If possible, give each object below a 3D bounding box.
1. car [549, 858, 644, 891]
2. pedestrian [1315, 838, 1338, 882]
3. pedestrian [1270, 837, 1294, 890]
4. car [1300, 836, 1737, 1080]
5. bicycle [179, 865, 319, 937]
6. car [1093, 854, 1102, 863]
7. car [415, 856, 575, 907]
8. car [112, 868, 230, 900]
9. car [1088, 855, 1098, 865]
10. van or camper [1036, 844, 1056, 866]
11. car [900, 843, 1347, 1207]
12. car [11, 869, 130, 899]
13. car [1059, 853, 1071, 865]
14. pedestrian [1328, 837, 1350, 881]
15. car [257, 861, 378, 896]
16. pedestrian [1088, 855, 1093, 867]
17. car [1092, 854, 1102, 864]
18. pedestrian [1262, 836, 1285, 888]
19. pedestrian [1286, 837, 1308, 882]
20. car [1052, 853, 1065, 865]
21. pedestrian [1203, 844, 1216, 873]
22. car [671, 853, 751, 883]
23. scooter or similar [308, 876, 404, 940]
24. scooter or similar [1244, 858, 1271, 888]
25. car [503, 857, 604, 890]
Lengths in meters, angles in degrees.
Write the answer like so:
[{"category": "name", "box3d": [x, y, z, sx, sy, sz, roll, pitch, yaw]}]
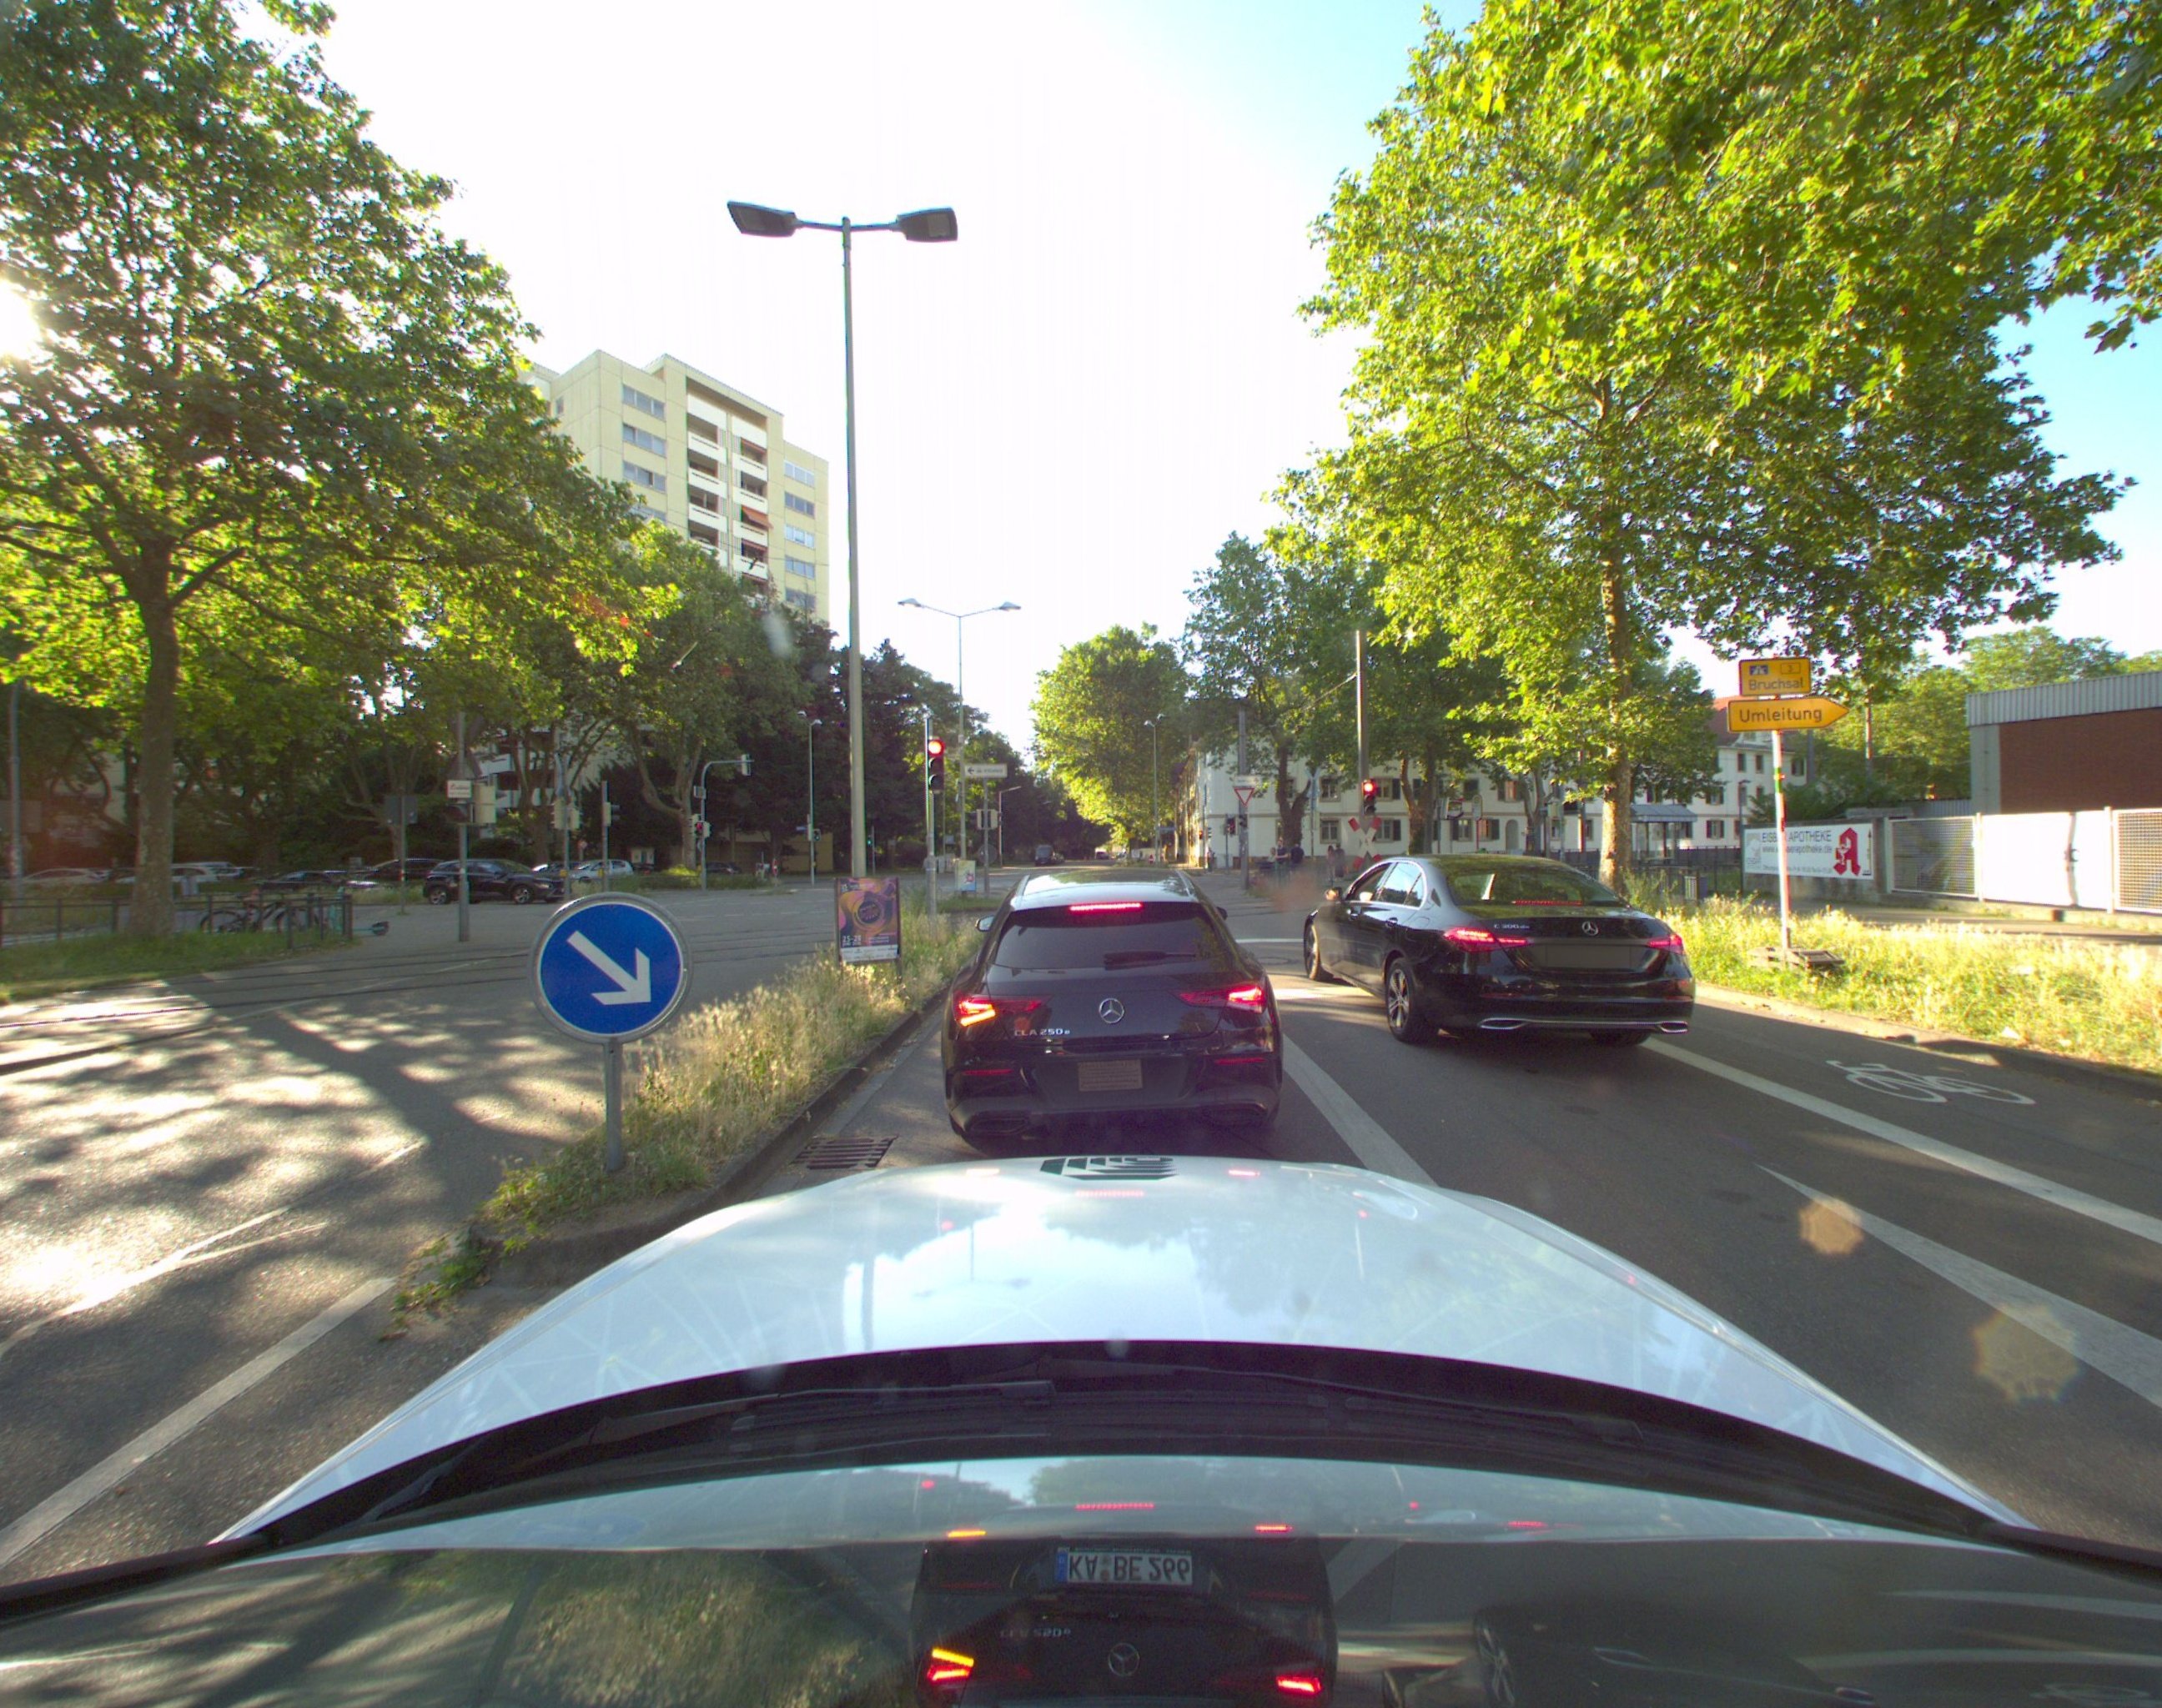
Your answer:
[{"category": "car", "box3d": [-24.923, 1.029, 42.026, 1.716, 1.596, 3.831, -1, -1, 32]}, {"category": "pedestrian", "box3d": [10.723, 0.259, 35.556, 0.703, 1.918, 0.838, 0, -1, -2]}, {"category": "pedestrian", "box3d": [7.412, 0.344, 30.080, 0.680, 1.918, 0.707, 0, -1, 0]}, {"category": "car", "box3d": [3.365, 0.620, 7.395, 1.881, 1.490, 4.387, 0, 2, 4]}, {"category": "bicycle", "box3d": [-15.953, 0.877, 15.668, 1.845, 1.307, 0.380, 0, -1, -26]}, {"category": "car", "box3d": [3.250, 0.901, 158.621, 1.727, 1.765, 4.020, 0, -1, 2]}, {"category": "car", "box3d": [-19.510, 0.900, 27.273, 3.981, 1.596, 1.735, 0, -1, -5]}, {"category": "car", "box3d": [-49.160, 1.591, 44.070, 1.716, 1.596, 4.025, -1, -1, 32]}, {"category": "car", "box3d": [2.107, 1.007, 145.734, 1.727, 1.765, 4.020, 0, -1, 2]}, {"category": "van or camper", "box3d": [-4.278, 0.129, 100.046, 1.986, 2.541, 4.653, 0, -1, 2]}, {"category": "car", "box3d": [0.287, 0.696, 5.444, 1.881, 1.450, 4.004, 0, 2, 3]}, {"category": "car", "box3d": [-57.100, 1.669, 46.074, 1.716, 1.596, 4.025, -1, -1, 32]}, {"category": "car", "box3d": [-2.468, 0.828, 126.674, 1.727, 1.765, 3.972, 0, -1, 2]}, {"category": "pedestrian", "box3d": [11.573, 0.230, 36.536, 0.703, 1.918, 0.838, 0, -1, -2]}, {"category": "car", "box3d": [-37.414, 1.148, 39.997, 1.716, 1.596, 4.025, -1, -1, 32]}, {"category": "pedestrian", "box3d": [1.541, 1.051, 130.198, 0.704, 1.918, 0.837, 0, -1, -8]}, {"category": "car", "box3d": [2.919, 0.979, 150.539, 1.727, 1.765, 4.020, 0, -1, 2]}, {"category": "pedestrian", "box3d": [7.288, 0.298, 30.856, 0.681, 1.918, 0.707, 0, -1, -2]}, {"category": "pedestrian", "box3d": [9.340, 0.248, 35.226, 0.703, 1.918, 0.838, 0, -1, -2]}, {"category": "car", "box3d": [-3.246, 0.762, 117.852, 1.727, 1.765, 4.087, 0, -1, 2]}, {"category": "pedestrian", "box3d": [8.603, 0.301, 54.638, 0.703, 1.918, 0.838, 0, -1, -2]}, {"category": "car", "box3d": [-22.639, 0.854, 49.922, 3.963, 1.774, 2.005, -1, -1, 9]}, {"category": "scooter or similar", "box3d": [-15.093, 1.098, 16.981, 0.408, 1.239, 1.450, -1, -1, 40]}, {"category": "scooter or similar", "box3d": [6.597, 0.721, 30.478, 0.826, 1.104, 0.808, 0, -1, -4]}, {"category": "car", "box3d": [-27.219, 0.977, 42.160, 1.716, 1.596, 4.025, -1, -1, 32]}]
